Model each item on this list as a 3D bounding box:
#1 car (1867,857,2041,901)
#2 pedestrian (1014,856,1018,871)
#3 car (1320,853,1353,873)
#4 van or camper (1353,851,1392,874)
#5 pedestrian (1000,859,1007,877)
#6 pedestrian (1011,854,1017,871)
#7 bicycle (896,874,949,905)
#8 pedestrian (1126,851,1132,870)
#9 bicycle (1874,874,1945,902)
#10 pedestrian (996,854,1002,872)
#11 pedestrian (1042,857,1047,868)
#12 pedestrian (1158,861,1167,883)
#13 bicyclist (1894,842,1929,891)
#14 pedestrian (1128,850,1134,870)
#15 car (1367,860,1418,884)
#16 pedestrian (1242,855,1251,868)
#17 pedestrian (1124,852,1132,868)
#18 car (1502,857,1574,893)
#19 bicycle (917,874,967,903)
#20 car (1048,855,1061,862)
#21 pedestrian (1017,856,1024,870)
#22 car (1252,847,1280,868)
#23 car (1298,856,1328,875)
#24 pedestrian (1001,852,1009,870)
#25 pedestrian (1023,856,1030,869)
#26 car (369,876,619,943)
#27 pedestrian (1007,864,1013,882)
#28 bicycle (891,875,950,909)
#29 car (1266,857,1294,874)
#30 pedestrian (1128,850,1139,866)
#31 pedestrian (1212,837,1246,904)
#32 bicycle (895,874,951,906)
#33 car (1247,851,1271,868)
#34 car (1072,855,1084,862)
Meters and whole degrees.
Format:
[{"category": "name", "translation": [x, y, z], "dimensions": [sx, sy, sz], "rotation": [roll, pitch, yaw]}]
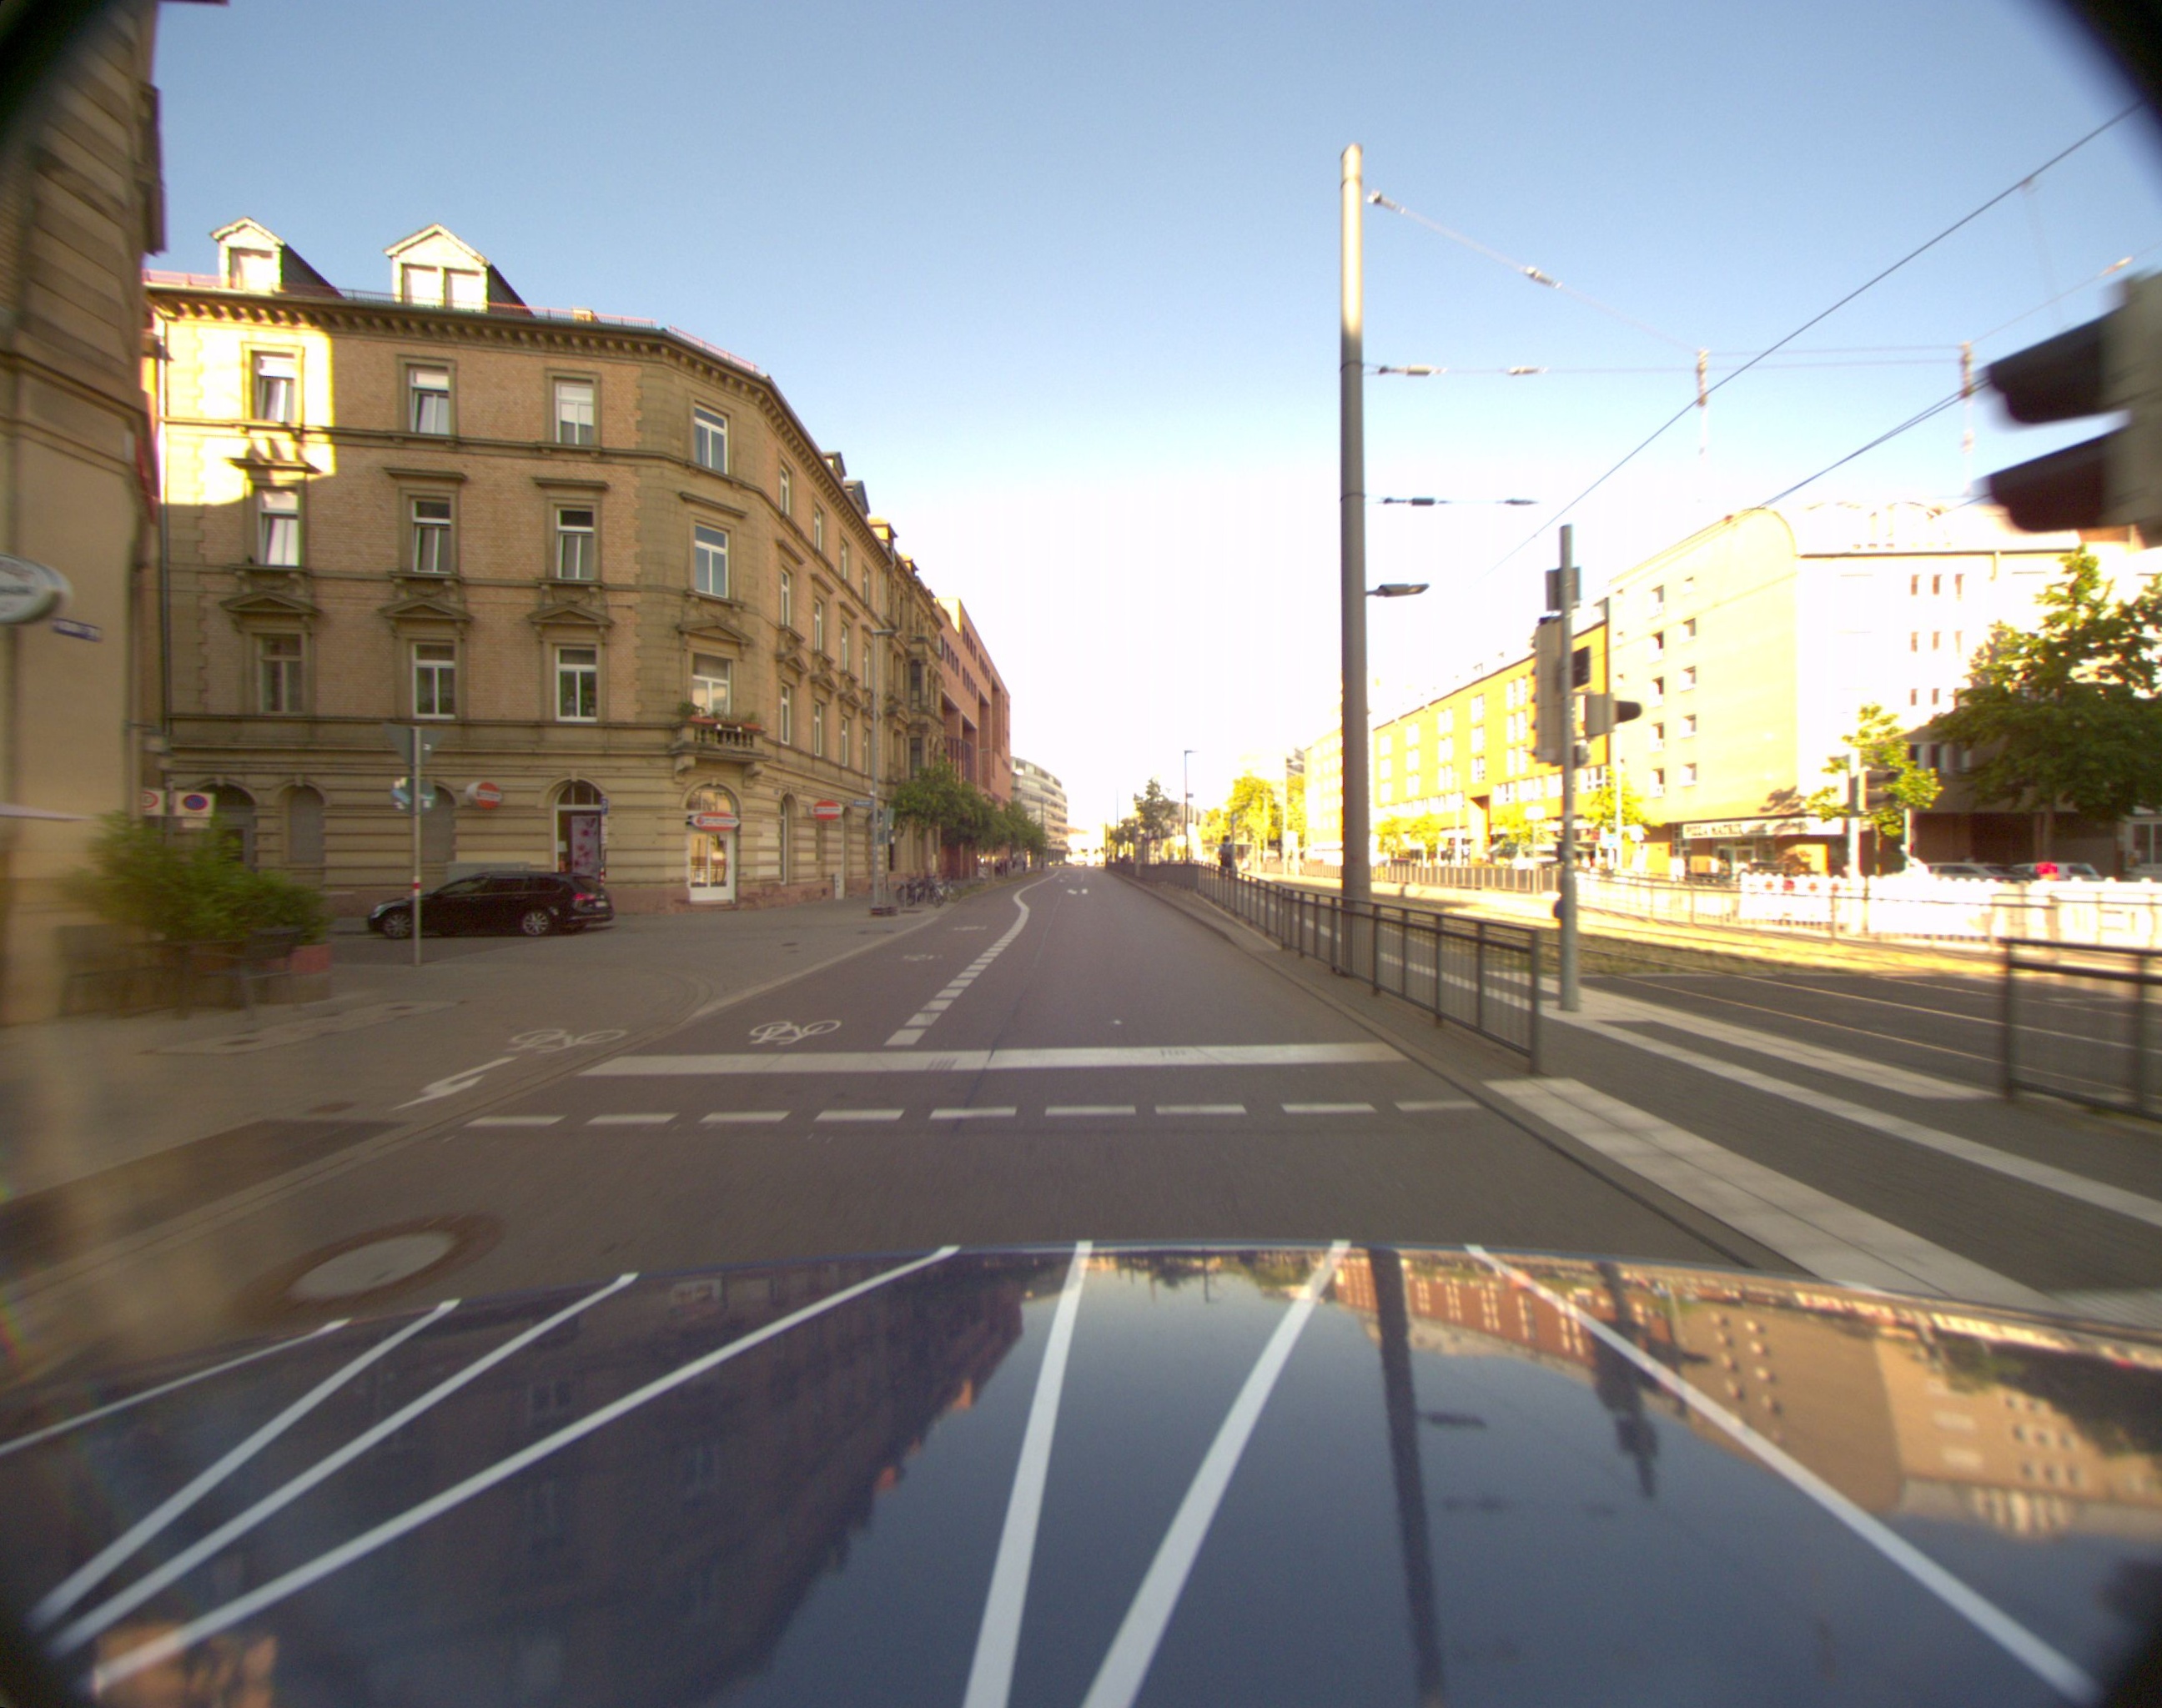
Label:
[{"category": "car", "translation": [33.773, 0.931, 29.591], "dimensions": [1.842, 1.575, 4.155], "rotation": [0, -1, -5]}, {"category": "pedestrian", "translation": [-7.662, 1.153, 89.944], "dimensions": [0.422, 1.746, 0.538], "rotation": [-1, 1, -7]}, {"category": "car", "translation": [24.349, 0.894, 72.632], "dimensions": [1.890, 1.855, 4.317], "rotation": [0, -1, 3]}, {"category": "van or camper", "translation": [29.769, 0.918, 77.735], "dimensions": [1.998, 2.156, 5.618], "rotation": [0, -2, 2]}, {"category": "pedestrian", "translation": [-7.698, 1.407, 75.498], "dimensions": [0.537, 1.746, 0.696], "rotation": [0, 1, 11]}, {"category": "pedestrian", "translation": [-6.725, 0.825, 76.415], "dimensions": [0.537, 1.746, 0.696], "rotation": [0, 0, 4]}, {"category": "bicycle", "translation": [-5.940, 1.321, 28.572], "dimensions": [1.831, 1.058, 0.663], "rotation": [2, -1, -4]}, {"category": "pedestrian", "translation": [4.130, 0.577, 65.482], "dimensions": [0.506, 1.669, 0.651], "rotation": [0, 0, 0]}, {"category": "bicycle", "translation": [28.319, 1.159, 25.995], "dimensions": [1.741, 0.942, 0.685], "rotation": [0, 0, -3]}, {"category": "pedestrian", "translation": [-8.012, 0.888, 74.101], "dimensions": [0.538, 1.746, 0.421], "rotation": [-1, 1, -22]}, {"category": "pedestrian", "translation": [-5.324, 1.230, 110.937], "dimensions": [0.624, 1.692, 0.749], "rotation": [0, 0, -11]}, {"category": "pedestrian", "translation": [5.277, 1.147, 49.035], "dimensions": [0.430, 1.377, 0.407], "rotation": [-1, 1, -11]}, {"category": "bicyclist", "translation": [28.412, 0.420, 25.995], "dimensions": [0.487, 1.670, 0.666], "rotation": [0, 0, -3]}, {"category": "pedestrian", "translation": [4.453, 0.544, 67.545], "dimensions": [0.506, 1.722, 0.651], "rotation": [0, 1, 0]}, {"category": "car", "translation": [22.973, 1.296, 56.242], "dimensions": [1.998, 1.707, 4.943], "rotation": [0, 0, 4]}, {"category": "pedestrian", "translation": [15.632, 0.733, 71.684], "dimensions": [0.674, 1.183, 0.906], "rotation": [0, 0, 0]}, {"category": "pedestrian", "translation": [4.382, 0.552, 71.254], "dimensions": [0.674, 1.553, 0.906], "rotation": [0, 0, 0]}, {"category": "car", "translation": [26.254, 1.181, 43.822], "dimensions": [1.997, 2.001, 4.150], "rotation": [0, -1, 7]}, {"category": "bicycle", "translation": [-5.464, 1.343, 29.938], "dimensions": [1.831, 1.058, 0.663], "rotation": [2, -1, -4]}, {"category": "car", "translation": [-6.398, 1.136, 184.881], "dimensions": [1.901, 1.611, 4.177], "rotation": [0, -1, 15]}, {"category": "pedestrian", "translation": [-7.306, 1.125, 92.009], "dimensions": [0.640, 1.703, 0.574], "rotation": [0, 1, 23]}, {"category": "car", "translation": [21.749, 0.411, 89.354], "dimensions": [2.051, 2.344, 4.920], "rotation": [0, 0, 0]}, {"category": "car", "translation": [24.480, 1.224, 80.297], "dimensions": [1.891, 1.855, 4.316], "rotation": [0, -1, 0]}, {"category": "pedestrian", "translation": [-7.775, 0.712, 77.518], "dimensions": [0.734, 1.746, 0.695], "rotation": [0, 0, 3]}, {"category": "pedestrian", "translation": [-6.649, 1.001, 92.718], "dimensions": [0.703, 1.596, 0.519], "rotation": [0, 1, 32]}, {"category": "car", "translation": [-13.001, 1.204, 17.085], "dimensions": [4.155, 1.379, 1.617], "rotation": [0, -2, -11]}, {"category": "pedestrian", "translation": [-6.946, 1.832, 74.473], "dimensions": [0.538, 1.746, 0.464], "rotation": [-1, 1, -7]}, {"category": "bicycle", "translation": [-5.428, 1.270, 25.706], "dimensions": [1.831, 1.058, 0.663], "rotation": [2, -1, -4]}, {"category": "car", "translation": [21.731, 1.285, 83.092], "dimensions": [1.890, 1.855, 4.316], "rotation": [0, -1, 1]}, {"category": "pedestrian", "translation": [5.241, 0.391, 75.720], "dimensions": [0.890, 1.662, 1.095], "rotation": [0, 0, -4]}, {"category": "pedestrian", "translation": [3.687, 0.389, 18.981], "dimensions": [0.656, 1.633, 0.867], "rotation": [-1, 1, 1]}, {"category": "bicycle", "translation": [-5.631, 1.296, 27.183], "dimensions": [1.831, 1.058, 0.663], "rotation": [2, -1, -4]}, {"category": "car", "translation": [25.241, 0.742, 108.036], "dimensions": [2.084, 2.276, 5.264], "rotation": [0, 0, -1]}, {"category": "car", "translation": [-0.808, 1.160, 187.663], "dimensions": [1.901, 1.611, 4.177], "rotation": [0, -1, 15]}]
